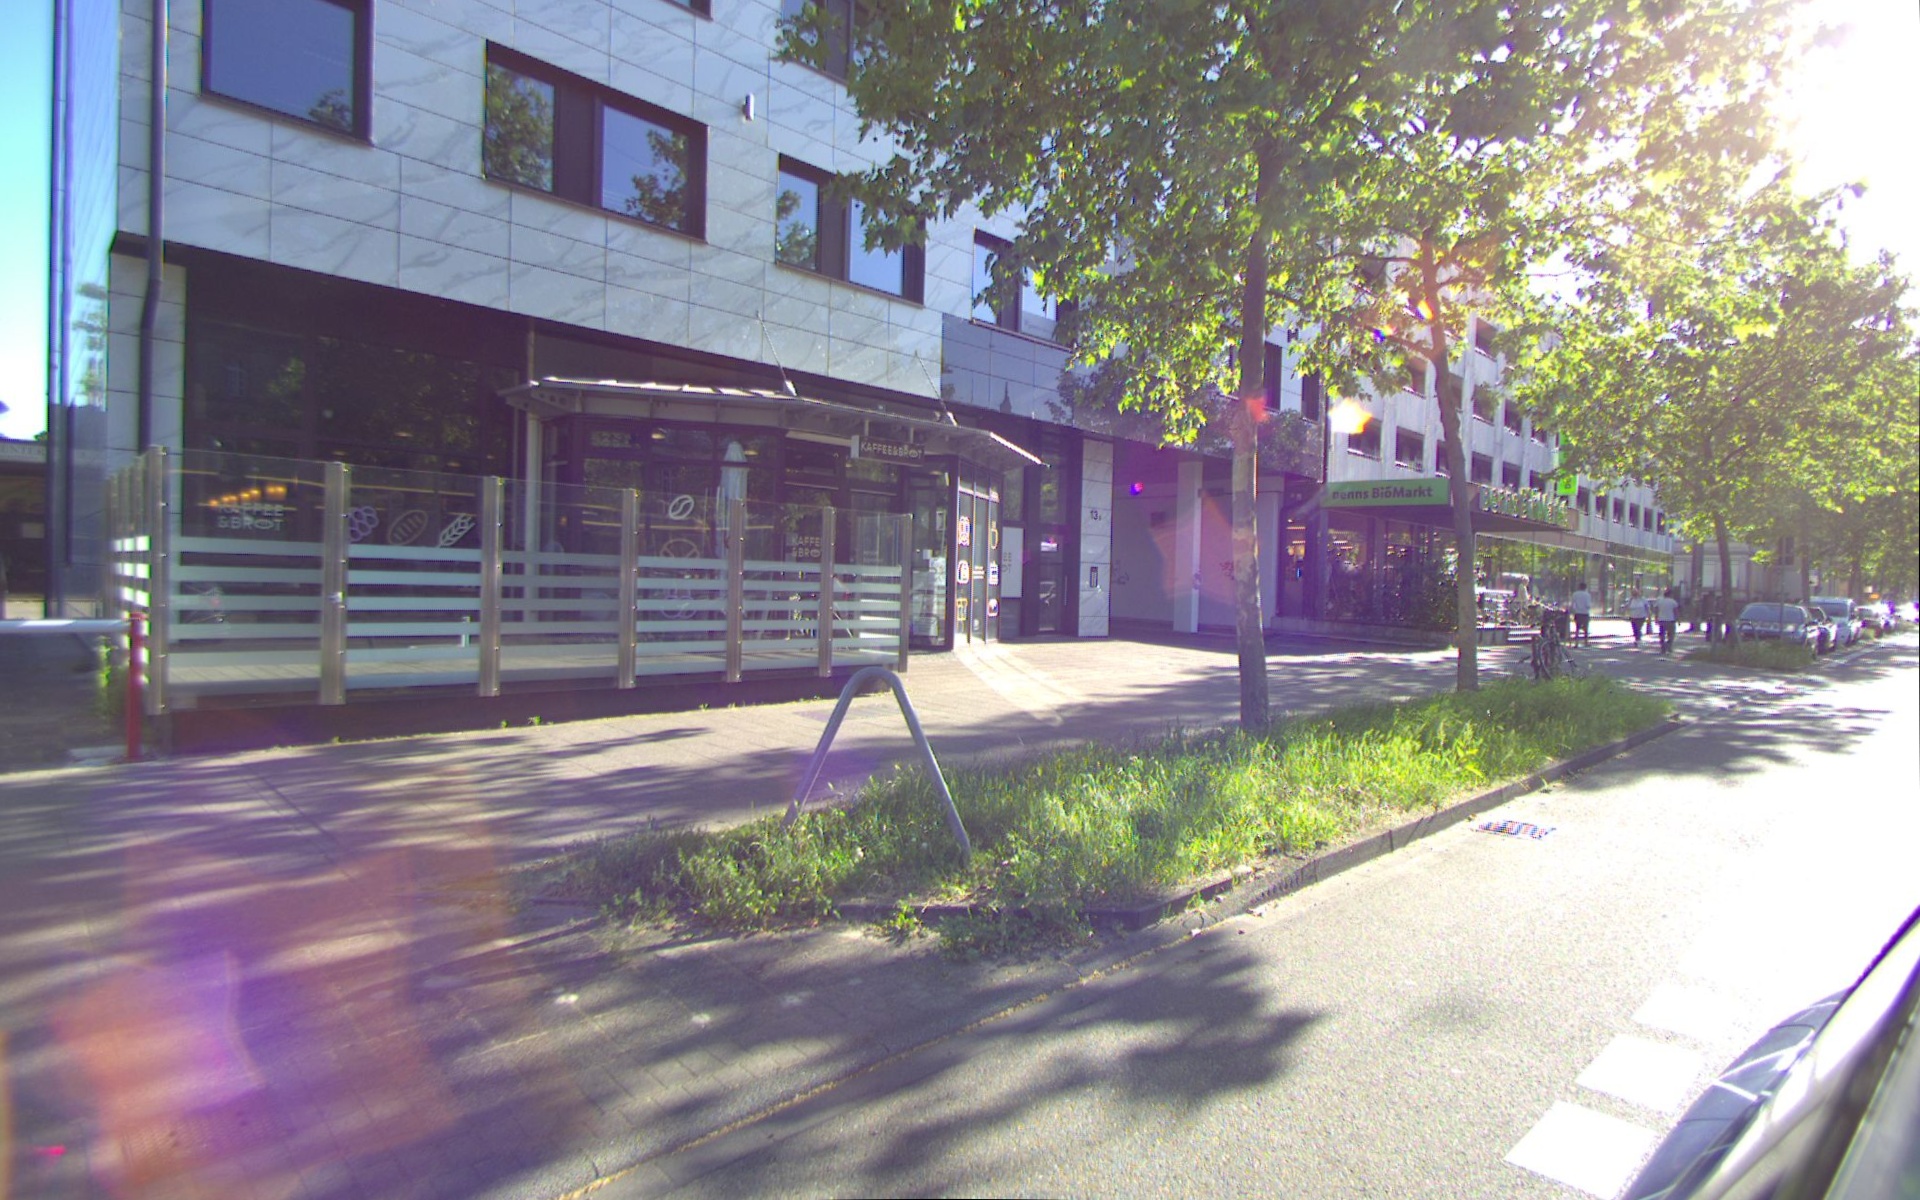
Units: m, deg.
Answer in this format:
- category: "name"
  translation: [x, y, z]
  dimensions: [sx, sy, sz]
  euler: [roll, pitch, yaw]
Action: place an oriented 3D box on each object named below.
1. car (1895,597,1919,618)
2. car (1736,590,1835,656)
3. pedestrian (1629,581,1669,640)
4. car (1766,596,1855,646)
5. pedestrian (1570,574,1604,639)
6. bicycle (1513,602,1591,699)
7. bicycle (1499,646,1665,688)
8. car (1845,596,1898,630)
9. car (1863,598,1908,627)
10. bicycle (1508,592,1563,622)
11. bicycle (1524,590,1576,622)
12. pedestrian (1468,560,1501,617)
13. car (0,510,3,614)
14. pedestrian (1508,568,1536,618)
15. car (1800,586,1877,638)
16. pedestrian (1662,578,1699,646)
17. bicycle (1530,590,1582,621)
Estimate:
- category: "car"
  translation: [73.308, 0.547, 77.872]
  dimensions: [4.203, 1.584, 1.835]
  euler: [0, 1, -45]
- category: "car"
  translation: [21.757, 0.543, 26.624]
  dimensions: [3.934, 1.569, 1.566]
  euler: [0, 1, -44]
- category: "pedestrian"
  translation: [19.975, 0.302, 29.337]
  dimensions: [0.853, 1.632, 0.699]
  euler: [1, 3, -42]
- category: "car"
  translation: [26.601, 0.606, 31.603]
  dimensions: [1.762, 1.436, 4.624]
  euler: [1, 1, 45]
- category: "pedestrian"
  translation: [17.390, 0.180, 28.064]
  dimensions: [0.864, 1.766, 0.560]
  euler: [0, 2, -45]
- category: "bicycle"
  translation: [7.909, 0.631, 13.484]
  dimensions: [0.785, 1.147, 1.824]
  euler: [2, 2, 33]
- category: "bicycle"
  translation: [8.296, 0.878, 13.507]
  dimensions: [1.366, 0.357, 1.610]
  euler: [0, 2, -44]
- category: "car"
  translation: [44.188, 0.607, 49.041]
  dimensions: [1.674, 1.455, 3.631]
  euler: [5, 4, 44]
- category: "car"
  translation: [51.475, 0.652, 56.258]
  dimensions: [3.866, 1.459, 1.627]
  euler: [0, 3, -45]
- category: "bicycle"
  translation: [20.160, 0.239, 35.481]
  dimensions: [0.573, 0.927, 1.656]
  euler: [5, 2, -17]
- category: "bicycle"
  translation: [22.494, 0.210, 38.623]
  dimensions: [0.573, 1.068, 1.710]
  euler: [3, 2, -17]
- category: "pedestrian"
  translation: [16.158, -0.355, 31.182]
  dimensions: [0.868, 1.698, 0.558]
  euler: [0, 3, -45]
- category: "car"
  translation: [-17.348, -0.689, 17.187]
  dimensions: [1.568, 1.692, 3.614]
  euler: [0, 2, -43]
- category: "pedestrian"
  translation: [20.341, -0.264, 36.652]
  dimensions: [0.607, 1.735, 0.609]
  euler: [8, 4, 21]
- category: "car"
  translation: [33.260, 0.436, 38.280]
  dimensions: [4.320, 1.814, 1.766]
  euler: [0, 2, -44]
- category: "pedestrian"
  translation: [18.965, 0.308, 26.634]
  dimensions: [1.035, 1.725, 0.560]
  euler: [0, 2, -45]
- category: "bicycle"
  translation: [23.141, 0.206, 39.324]
  dimensions: [0.573, 1.068, 1.710]
  euler: [2, 3, -17]
